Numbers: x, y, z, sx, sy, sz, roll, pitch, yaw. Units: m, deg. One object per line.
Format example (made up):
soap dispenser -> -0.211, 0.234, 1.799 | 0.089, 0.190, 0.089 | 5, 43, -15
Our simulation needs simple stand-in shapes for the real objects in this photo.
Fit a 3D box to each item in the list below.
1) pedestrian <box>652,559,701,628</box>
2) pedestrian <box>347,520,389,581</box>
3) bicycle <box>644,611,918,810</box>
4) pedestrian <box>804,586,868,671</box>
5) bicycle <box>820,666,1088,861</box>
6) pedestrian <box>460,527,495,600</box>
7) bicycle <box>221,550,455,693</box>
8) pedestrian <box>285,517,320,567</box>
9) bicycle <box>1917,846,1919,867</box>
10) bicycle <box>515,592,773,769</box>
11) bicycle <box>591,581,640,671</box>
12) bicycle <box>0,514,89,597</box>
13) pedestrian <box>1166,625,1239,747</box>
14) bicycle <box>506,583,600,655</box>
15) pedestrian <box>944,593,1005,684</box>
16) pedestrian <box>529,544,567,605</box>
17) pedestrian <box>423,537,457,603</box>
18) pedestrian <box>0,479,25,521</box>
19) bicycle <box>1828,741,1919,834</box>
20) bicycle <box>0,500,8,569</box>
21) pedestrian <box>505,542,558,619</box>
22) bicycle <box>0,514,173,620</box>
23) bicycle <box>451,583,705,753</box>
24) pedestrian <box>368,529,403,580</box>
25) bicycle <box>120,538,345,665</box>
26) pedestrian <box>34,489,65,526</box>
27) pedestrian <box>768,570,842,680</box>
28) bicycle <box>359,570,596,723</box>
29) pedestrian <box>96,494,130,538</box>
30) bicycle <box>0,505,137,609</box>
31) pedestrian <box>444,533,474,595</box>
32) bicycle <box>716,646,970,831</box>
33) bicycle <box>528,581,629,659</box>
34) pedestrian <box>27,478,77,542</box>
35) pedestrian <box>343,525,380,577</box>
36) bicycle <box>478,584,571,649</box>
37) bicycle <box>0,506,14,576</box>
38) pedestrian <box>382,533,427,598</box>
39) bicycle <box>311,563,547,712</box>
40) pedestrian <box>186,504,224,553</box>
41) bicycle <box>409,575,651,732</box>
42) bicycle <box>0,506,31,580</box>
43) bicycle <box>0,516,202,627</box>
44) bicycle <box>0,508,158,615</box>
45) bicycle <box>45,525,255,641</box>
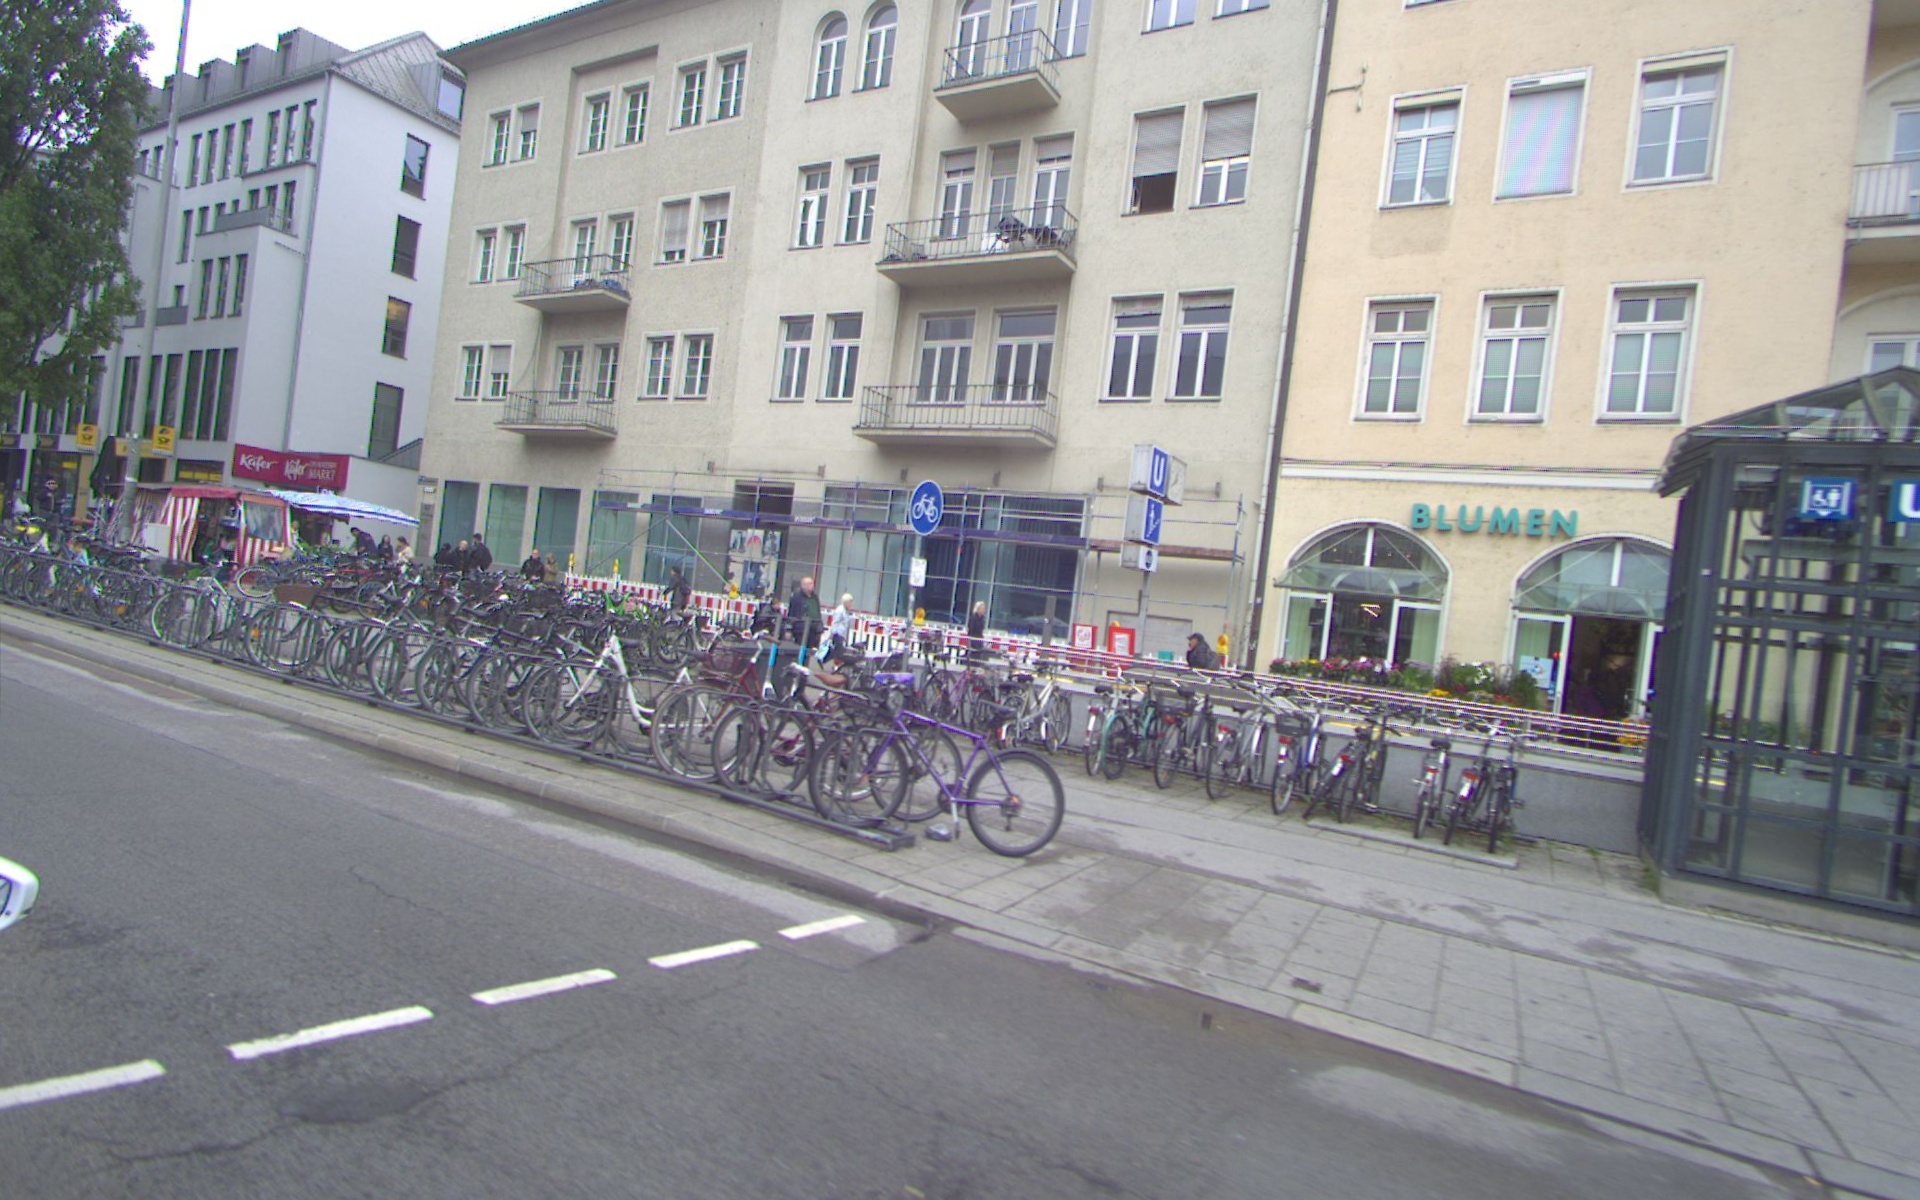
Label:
pedestrian -> -7.006, -0.159, 24.830 | 0.774, 1.588, 0.649 | 7, 1, 32
pedestrian -> -15.236, -1.275, 25.899 | 0.648, 1.443, 0.616 | 8, 1, 36
bicycle -> -1.303, 0.807, 7.351 | 1.777, 1.213, 0.557 | 8, 0, -16
pedestrian -> -2.400, 0.563, 19.504 | 0.745, 1.537, 0.778 | 8, 2, 30
bicycle -> -0.054, 1.059, 6.572 | 1.575, 1.041, 0.498 | 8, 0, -11
pedestrian -> -11.880, -0.900, 24.785 | 0.594, 1.690, 0.682 | 7, 1, -23
bicycle -> -6.093, 0.222, 9.971 | 1.781, 1.172, 0.648 | 8, 0, -23
pedestrian -> -20.428, -1.796, 31.240 | 0.570, 1.420, 0.599 | 7, 1, 31
bicycle -> 11.362, 2.495, 10.487 | 1.833, 1.072, 0.495 | 7, 1, 27
bicycle -> -2.481, 0.646, 7.988 | 1.780, 1.172, 0.545 | 8, 0, -21
bicycle -> -5.079, 0.353, 14.778 | 0.365, 1.155, 1.712 | 7, 0, -26
bicycle -> -13.786, -0.691, 14.420 | 1.810, 1.065, 0.584 | 8, 0, -17
pedestrian -> 3.639, 1.277, 15.099 | 0.710, 1.692, 0.657 | 8, 2, 33
bicycle -> -6.327, 0.309, 15.691 | 0.363, 1.012, 1.316 | 8, 0, 32
pedestrian -> 0.287, 0.749, 19.755 | 0.745, 1.672, 0.751 | 8, 2, 30
pedestrian -> -11.922, -0.728, 29.102 | 0.553, 1.665, 0.641 | 7, 1, 31
pedestrian -> -12.602, -0.736, 24.379 | 0.574, 1.523, 0.612 | 7, 1, -27
pedestrian -> -38.189, -4.011, 40.348 | 0.665, 1.578, 0.714 | 7, 1, 31
bicycle -> 13.334, 2.669, 13.918 | 1.833, 1.103, 0.495 | 7, 1, 26
bicycle -> -17.160, -1.190, 16.687 | 1.810, 1.256, 0.584 | 8, 0, -17
pedestrian -> -10.443, -0.473, 24.502 | 0.746, 1.750, 0.743 | 8, 2, 31
bicycle -> -11.386, -0.417, 12.993 | 1.778, 1.125, 0.489 | 8, 0, -17
bicycle -> -3.105, 0.564, 8.287 | 1.780, 1.172, 0.545 | 8, 0, -21
pedestrian -> -17.054, -1.352, 29.886 | 0.570, 1.420, 0.575 | 7, 1, 31
bicycle -> -7.852, 0.025, 10.961 | 1.781, 1.125, 0.649 | 8, 0, -22
pedestrian -> -36.269, -3.691, 40.072 | 0.665, 1.322, 0.639 | 7, 1, 31
pedestrian -> -2.636, 0.420, 17.049 | 0.808, 1.750, 0.750 | 5, 2, -37
bicycle -> -4.315, 0.441, 9.072 | 1.785, 1.172, 0.483 | 8, 0, -30
pedestrian -> -32.795, -3.258, 38.972 | 0.665, 1.578, 0.714 | 7, 1, 31
bicycle -> -12.560, -0.609, 13.773 | 1.810, 1.212, 0.584 | 8, 0, -17
pedestrian -> -12.635, -0.903, 25.369 | 0.501, 1.502, 0.462 | 7, 1, -23
bicycle -> -0.804, 0.949, 6.944 | 1.575, 1.041, 0.498 | 8, 0, -11
bicycle -> -5.858, 0.328, 15.502 | 0.363, 1.090, 1.419 | 8, 0, 32
pedestrian -> -26.870, -2.661, 29.764 | 0.751, 1.749, 0.791 | 7, 1, 31
pedestrian -> -17.430, -1.430, 29.299 | 0.570, 1.420, 0.599 | 7, 1, 31
bicycle -> -6.900, 0.275, 15.989 | 0.363, 0.926, 1.294 | 8, 0, 32
bicycle -> -16.658, -1.079, 16.267 | 1.810, 1.150, 0.584 | 8, 0, -17
pedestrian -> -14.055, -0.876, 25.477 | 0.801, 1.541, 0.795 | 7, 1, -26
bicycle -> -4.889, 0.365, 9.358 | 1.785, 1.172, 0.483 | 8, 0, -29
pedestrian -> -27.075, -2.559, 36.084 | 0.729, 1.621, 0.733 | 7, 1, 31
bicycle -> -3.727, 0.494, 8.792 | 1.787, 1.172, 0.482 | 8, 0, -33
bicycle -> -16.014, -1.006, 15.893 | 1.810, 1.150, 0.584 | 8, 0, -17
bicycle -> -10.804, -0.342, 12.700 | 1.778, 1.125, 0.584 | 8, 0, -17
bicycle -> -11.925, -0.514, 13.349 | 1.810, 1.182, 0.584 | 8, 0, -17
bicycle -> -9.600, -0.192, 11.994 | 1.778, 1.125, 0.560 | 8, 0, -18
